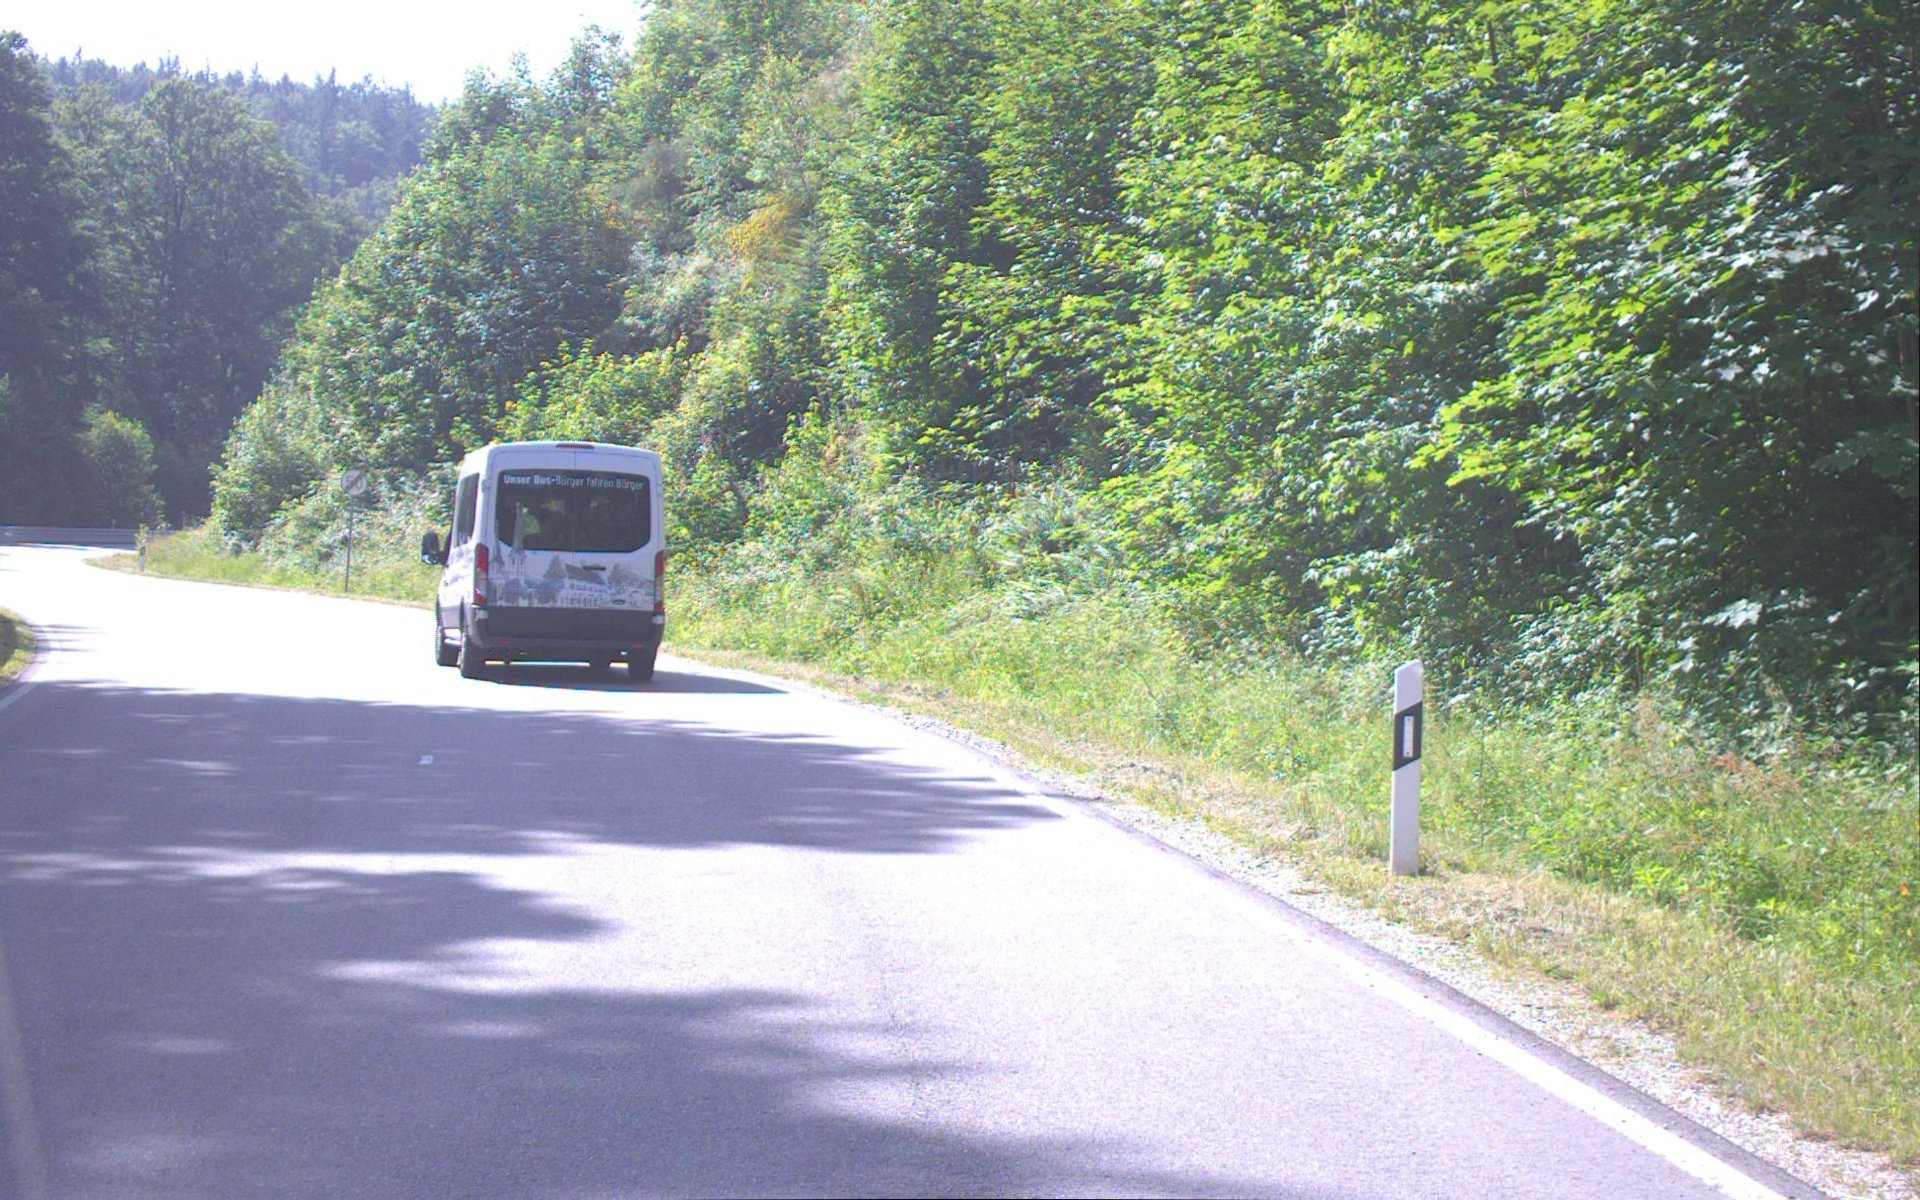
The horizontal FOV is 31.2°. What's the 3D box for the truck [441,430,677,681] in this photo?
[{"bbox_3d":[-4.440,-0.493,37.337,2.115,2.489,5.361,1,1,-11],"label":"truck"}]
